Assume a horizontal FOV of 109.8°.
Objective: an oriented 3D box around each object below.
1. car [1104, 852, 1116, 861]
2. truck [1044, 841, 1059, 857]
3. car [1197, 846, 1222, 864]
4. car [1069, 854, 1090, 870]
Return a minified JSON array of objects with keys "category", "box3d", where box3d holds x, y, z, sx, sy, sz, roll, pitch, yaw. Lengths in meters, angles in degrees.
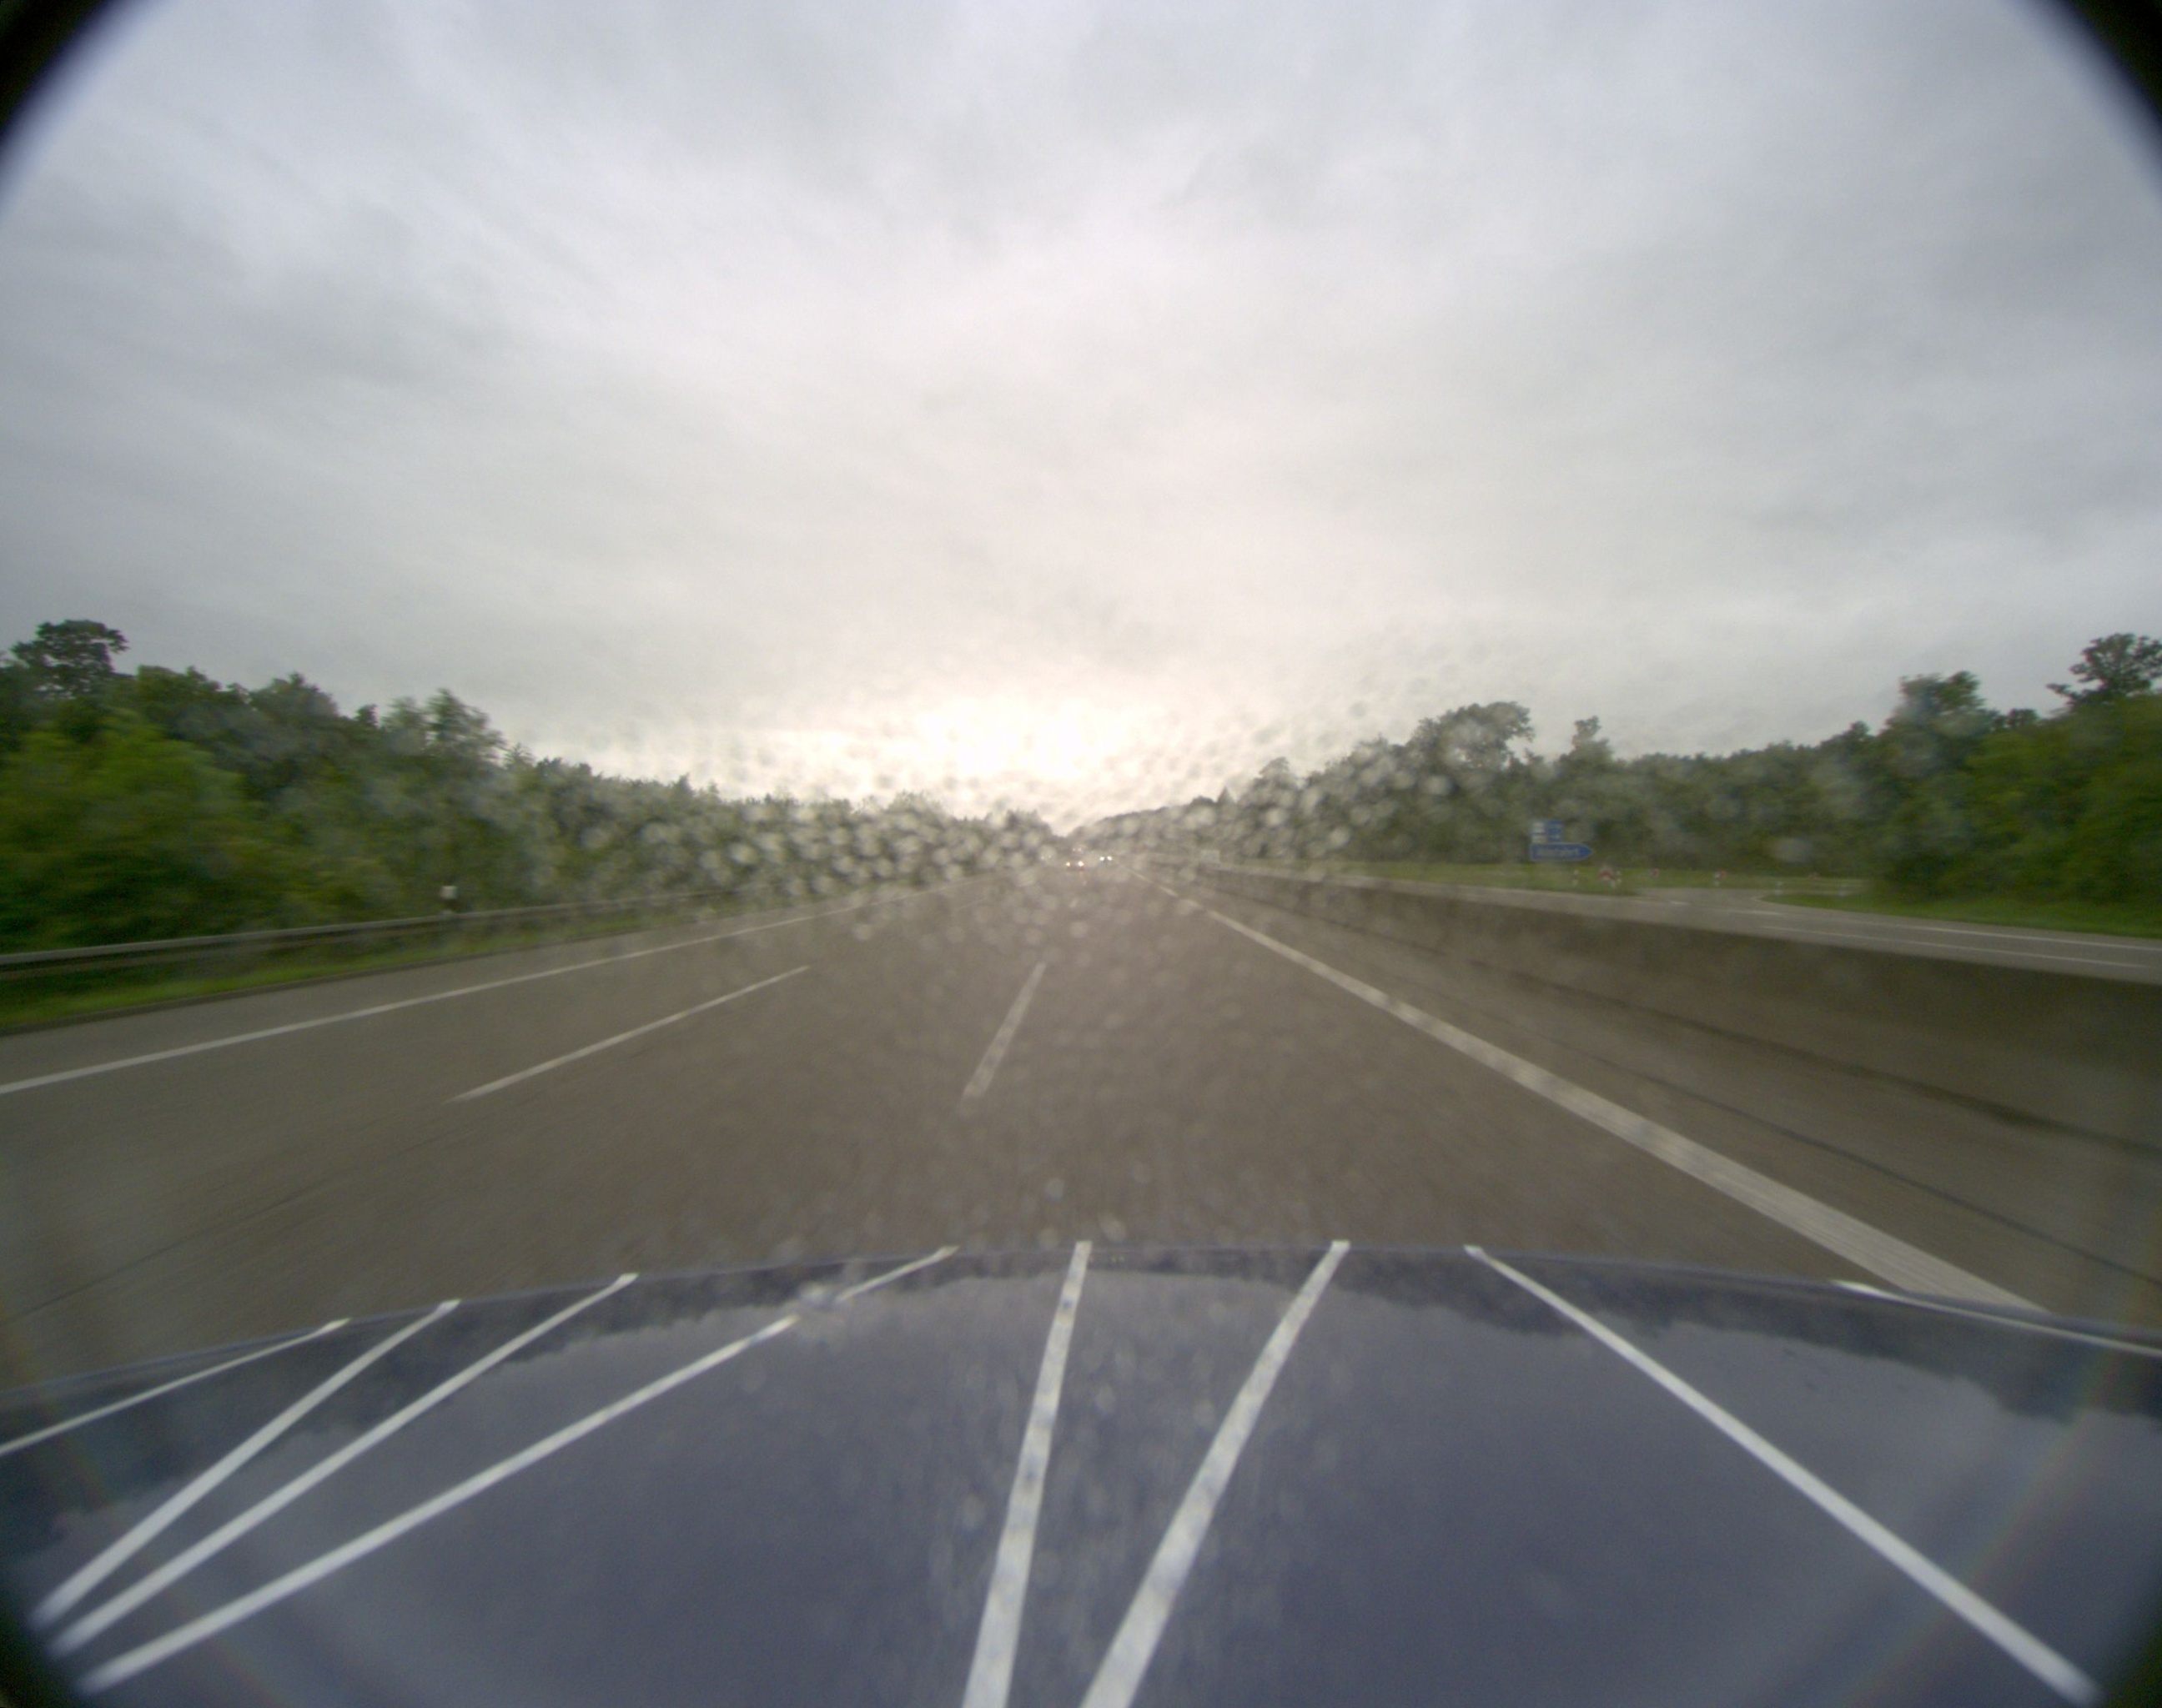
[{"category":"car","box3d":[5.041,0.427,133.710,2.009,1.455,4.000,0,1,3]},{"category":"truck","box3d":[-7.540,-1.415,197.082,3.244,3.873,12.024,-2,1,1]},{"category":"car","box3d":[15.293,0.071,90.757,1.999,2.002,5.760,-2,0,0]},{"category":"car","box3d":[-0.128,0.799,77.478,1.932,1.521,4.298,0,-1,2]}]
